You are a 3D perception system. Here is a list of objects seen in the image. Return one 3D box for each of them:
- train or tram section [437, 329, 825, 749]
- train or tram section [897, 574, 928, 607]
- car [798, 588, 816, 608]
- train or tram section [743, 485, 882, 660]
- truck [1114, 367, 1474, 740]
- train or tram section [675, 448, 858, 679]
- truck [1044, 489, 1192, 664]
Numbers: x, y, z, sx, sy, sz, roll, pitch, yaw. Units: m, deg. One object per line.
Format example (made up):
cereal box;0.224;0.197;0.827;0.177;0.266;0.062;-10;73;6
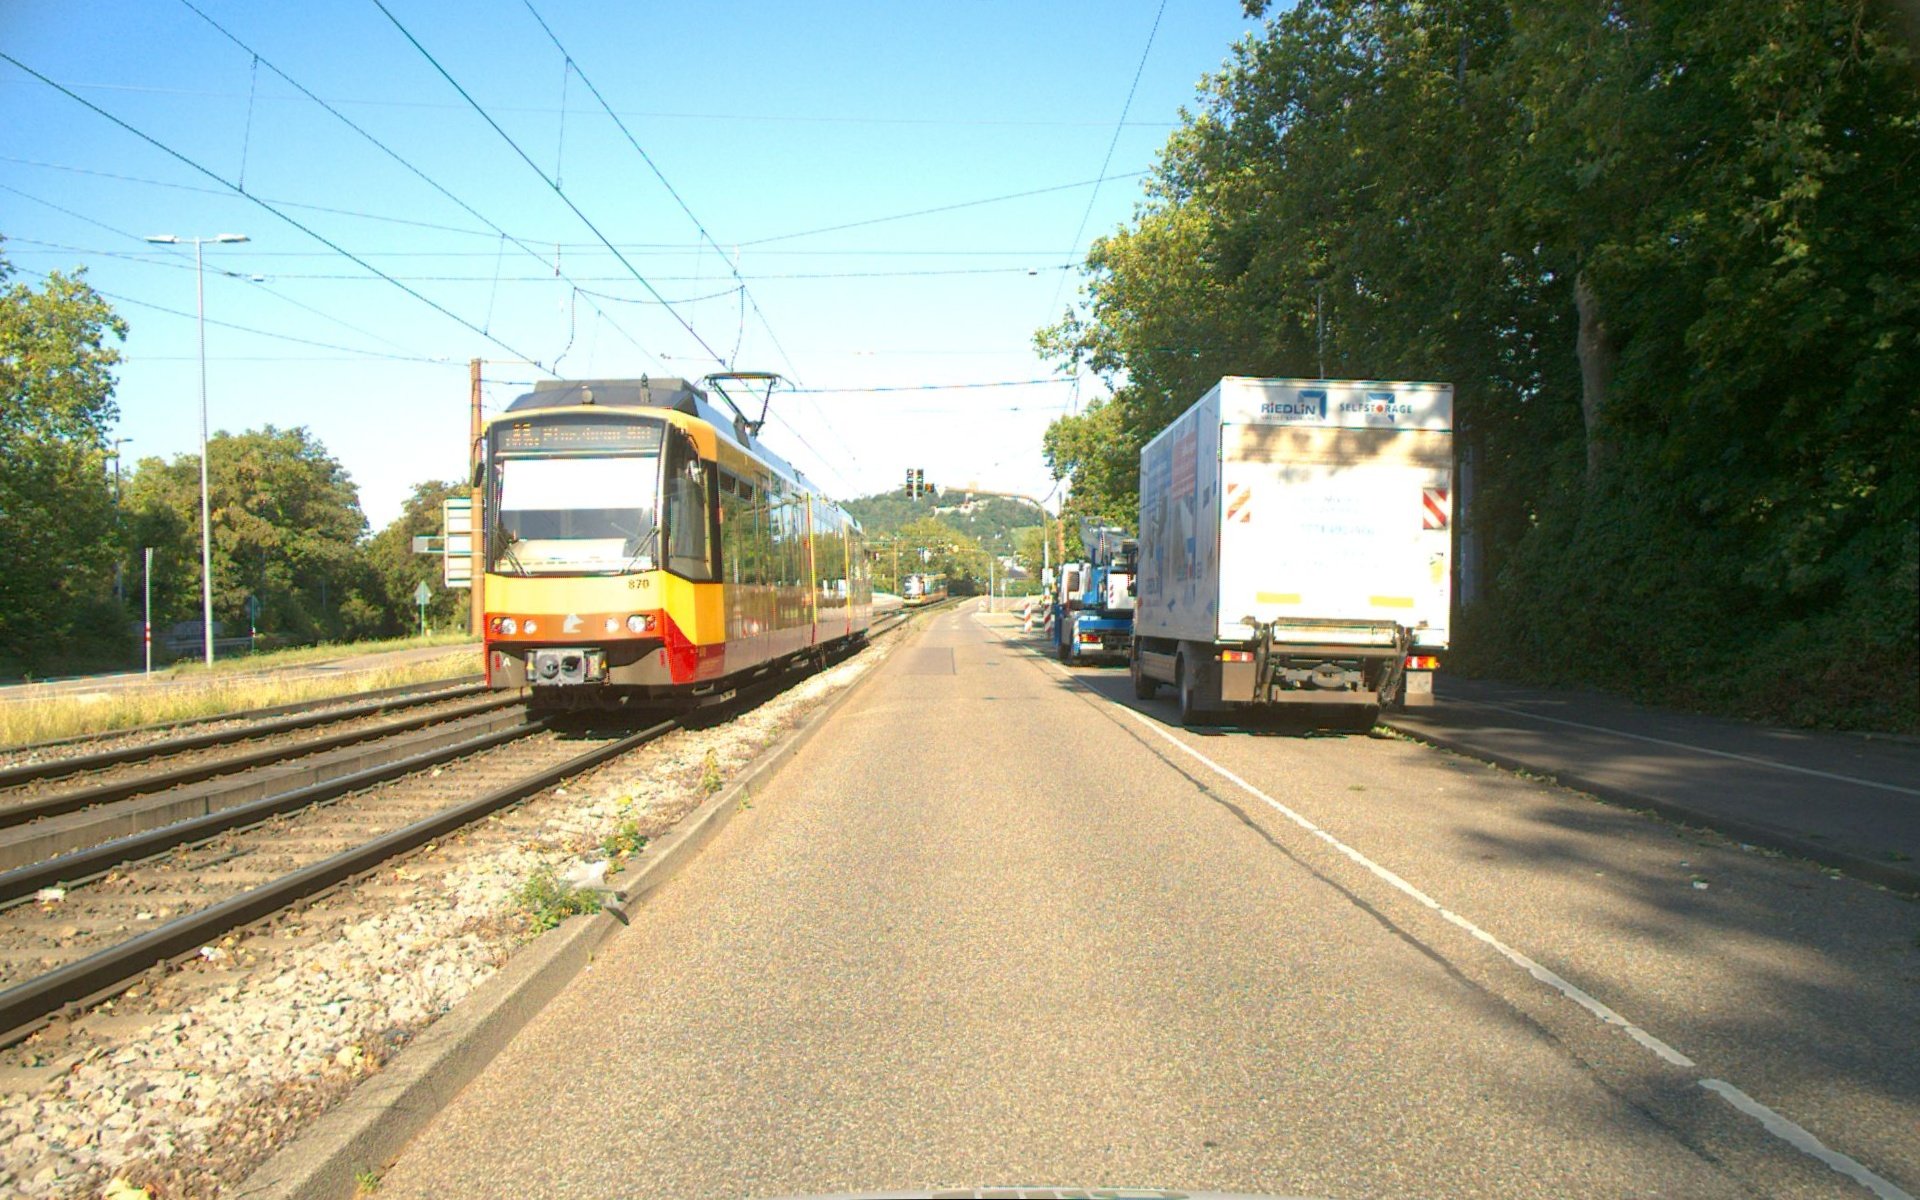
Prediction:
train or tram section;-3.878;-0.638;23.519;2.666;4.162;13.615;-2;0;0
train or tram section;-5.450;-1.132;191.824;2.589;3.629;10.837;-1;0;3
car;-15.812;-0.191;170.535;1.689;2.049;3.997;1;-1;-4
train or tram section;-3.881;-0.685;46.604;2.664;4.160;12.812;-2;0;0
truck;3.969;-0.496;22.349;2.686;3.850;10.088;1;0;-1
train or tram section;-3.856;-0.678;35.259;2.639;4.160;9.910;-2;0;0
truck;3.758;-0.531;41.619;2.662;3.850;9.760;1;0;-1
